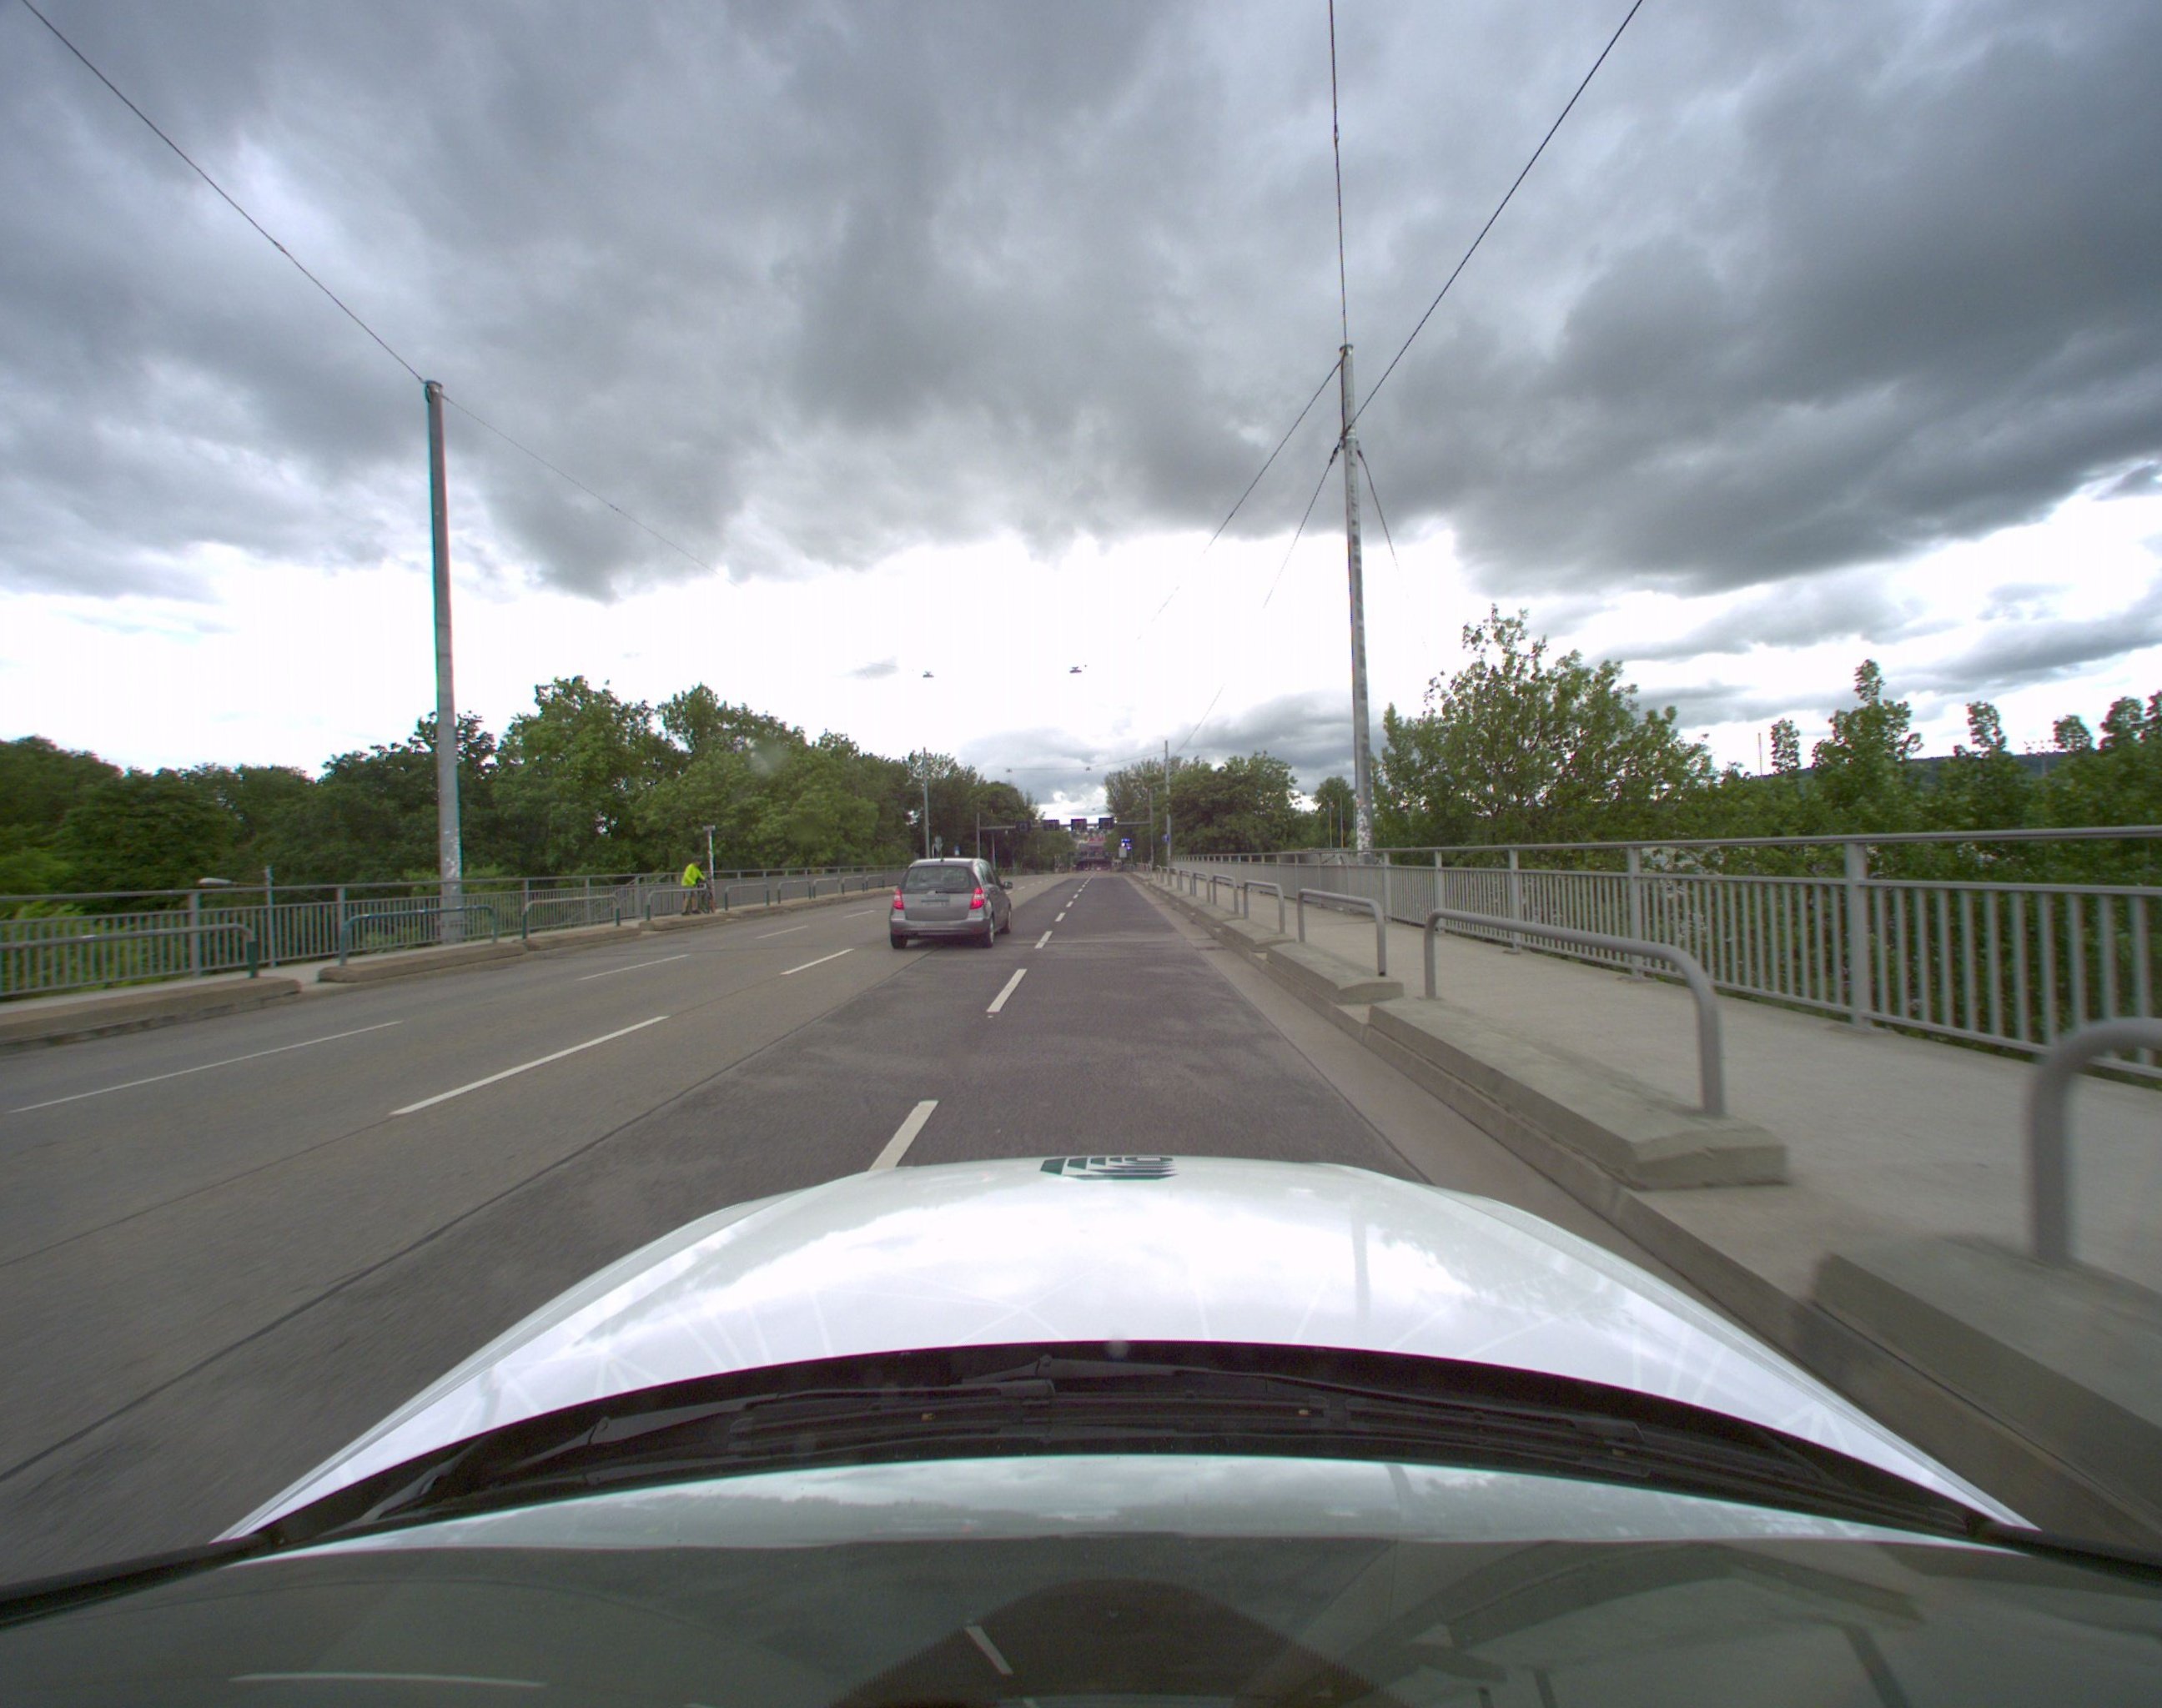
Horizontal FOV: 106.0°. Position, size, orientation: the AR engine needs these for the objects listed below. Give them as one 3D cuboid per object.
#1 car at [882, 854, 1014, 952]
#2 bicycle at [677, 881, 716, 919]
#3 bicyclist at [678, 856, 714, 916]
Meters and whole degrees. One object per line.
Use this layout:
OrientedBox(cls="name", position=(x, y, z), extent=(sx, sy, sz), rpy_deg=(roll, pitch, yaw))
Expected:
OrientedBox(cls="car", position=(-2.351, 0.803, 15.351), extent=(1.739, 1.550, 3.872), rpy_deg=(-1, 0, 1))
OrientedBox(cls="bicycle", position=(-11.879, 1.387, 25.134), extent=(0.923, 1.051, 2.774), rpy_deg=(-1, 0, -28))
OrientedBox(cls="bicyclist", position=(-11.936, 0.971, 25.222), extent=(0.908, 1.764, 1.125), rpy_deg=(-1, 0, -29))
